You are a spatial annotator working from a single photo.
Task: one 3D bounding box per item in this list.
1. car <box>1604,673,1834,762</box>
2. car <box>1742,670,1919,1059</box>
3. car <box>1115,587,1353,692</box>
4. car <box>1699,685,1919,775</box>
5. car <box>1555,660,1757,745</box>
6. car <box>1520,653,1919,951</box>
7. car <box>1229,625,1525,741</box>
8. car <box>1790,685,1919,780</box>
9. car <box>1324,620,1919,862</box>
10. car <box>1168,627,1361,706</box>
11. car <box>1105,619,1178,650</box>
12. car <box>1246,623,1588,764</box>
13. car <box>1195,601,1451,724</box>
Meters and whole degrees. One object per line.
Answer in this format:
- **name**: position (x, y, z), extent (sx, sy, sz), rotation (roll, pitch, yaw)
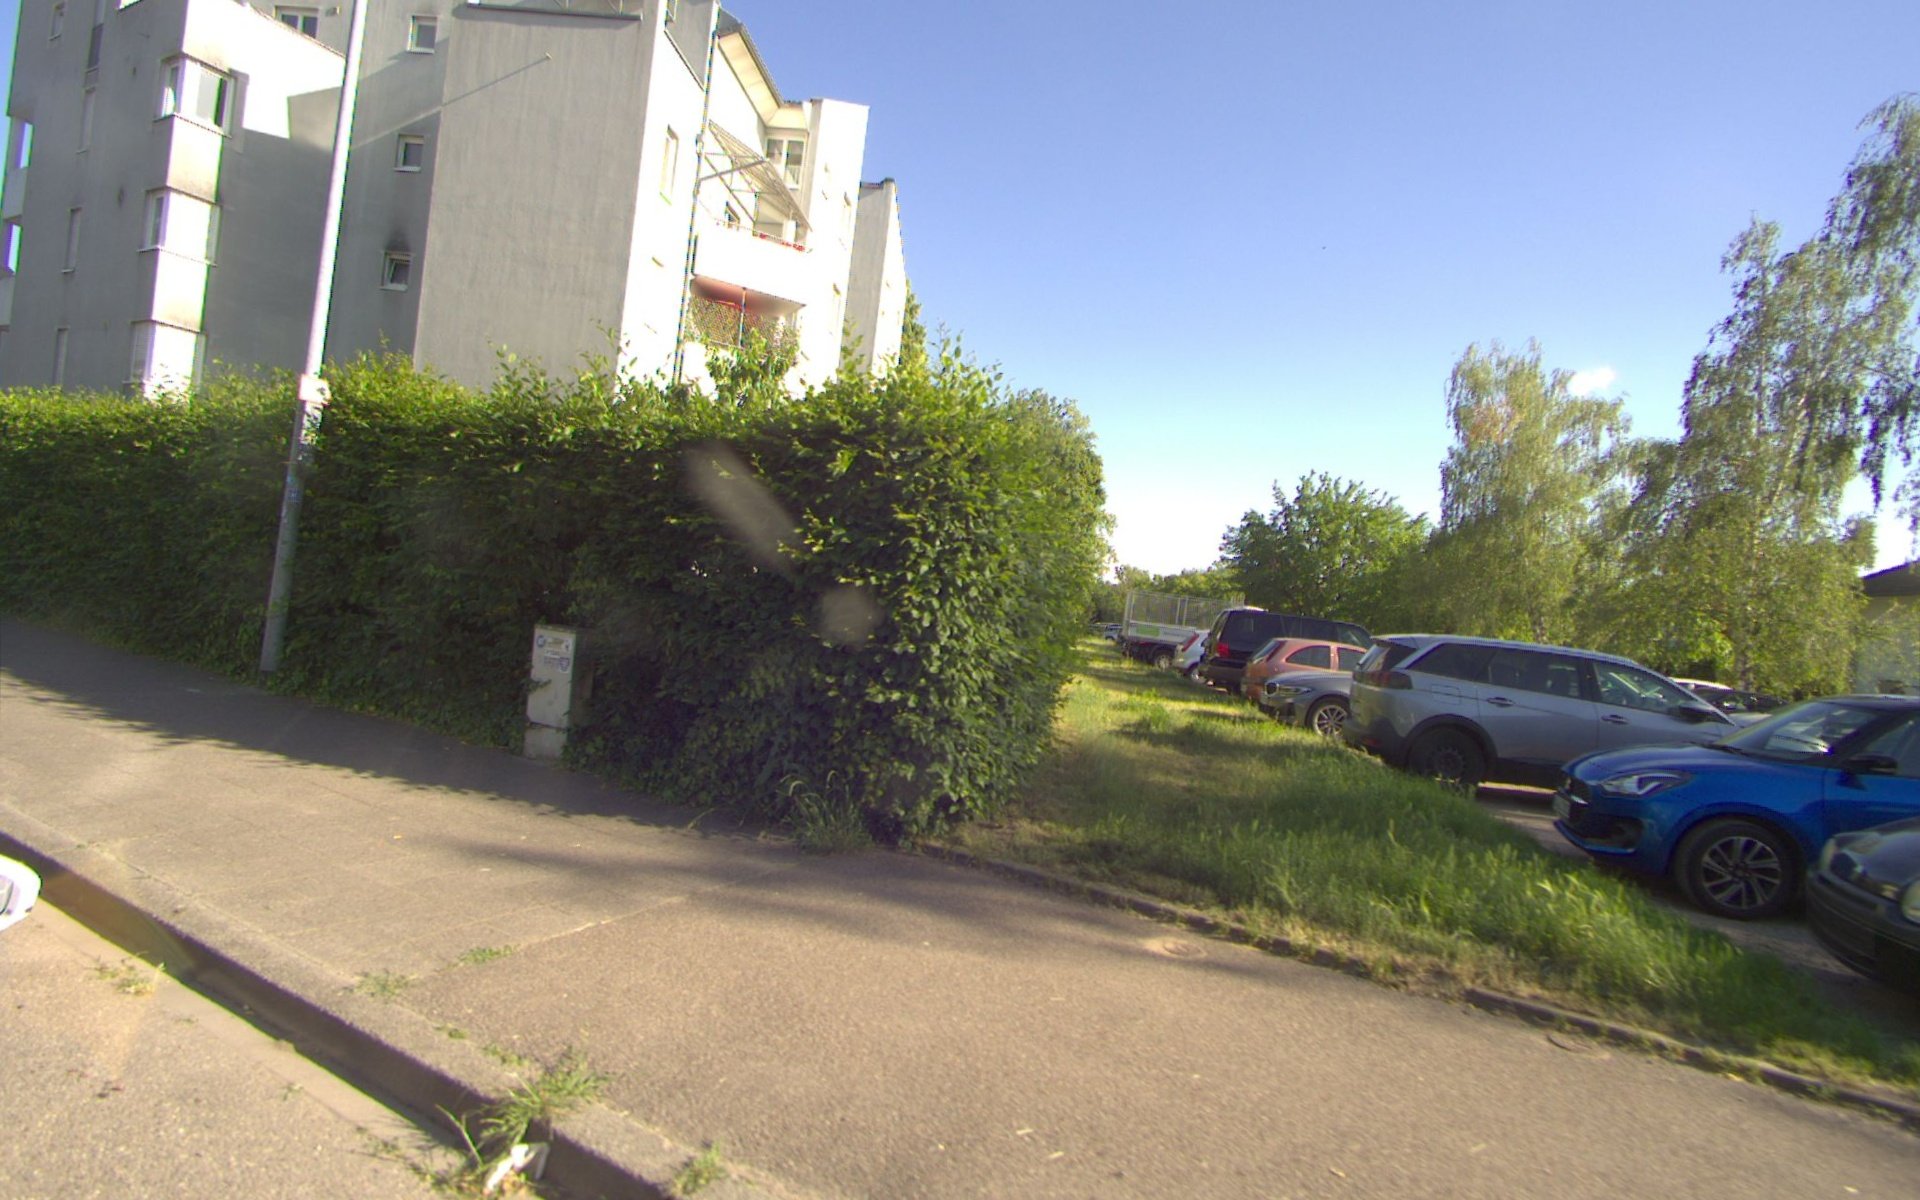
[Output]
- **car**: position (18.195, 2.786, 24.306), extent (3.924, 1.418, 1.799), rotation (8, 0, 9)
- **car**: position (5.655, 1.290, 4.059), extent (3.469, 1.485, 1.702), rotation (7, 1, 23)
- **car**: position (7.829, 1.111, 29.372), extent (6.158, 2.174, 2.411), rotation (7, 0, 4)
- **car**: position (18.692, 2.802, 21.697), extent (3.924, 1.293, 1.799), rotation (8, 0, 12)
- **car**: position (18.652, 2.713, 27.125), extent (3.924, 1.604, 1.799), rotation (8, 0, 9)
- **car**: position (6.017, 1.338, 6.644), extent (3.622, 1.515, 1.651), rotation (6, 1, 15)
- **car**: position (7.188, 1.401, 17.781), extent (4.381, 1.352, 1.848), rotation (7, 0, 8)
- **car**: position (18.732, 2.701, 19.154), extent (3.924, 1.521, 1.949), rotation (8, 0, 12)
- **car**: position (6.619, 1.318, 10.555), extent (4.912, 1.675, 1.785), rotation (6, 1, 12)
- **car**: position (7.806, 1.683, 26.185), extent (4.450, 1.372, 1.848), rotation (7, 0, 8)
- **car**: position (11.655, 2.191, 64.659), extent (4.450, 1.373, 1.848), rotation (7, 0, 10)
- **car**: position (6.442, 1.283, 14.534), extent (4.078, 1.473, 1.620), rotation (6, 0, 4)
- **car**: position (7.140, 1.199, 20.271), extent (4.450, 1.793, 1.848), rotation (7, 0, 11)
